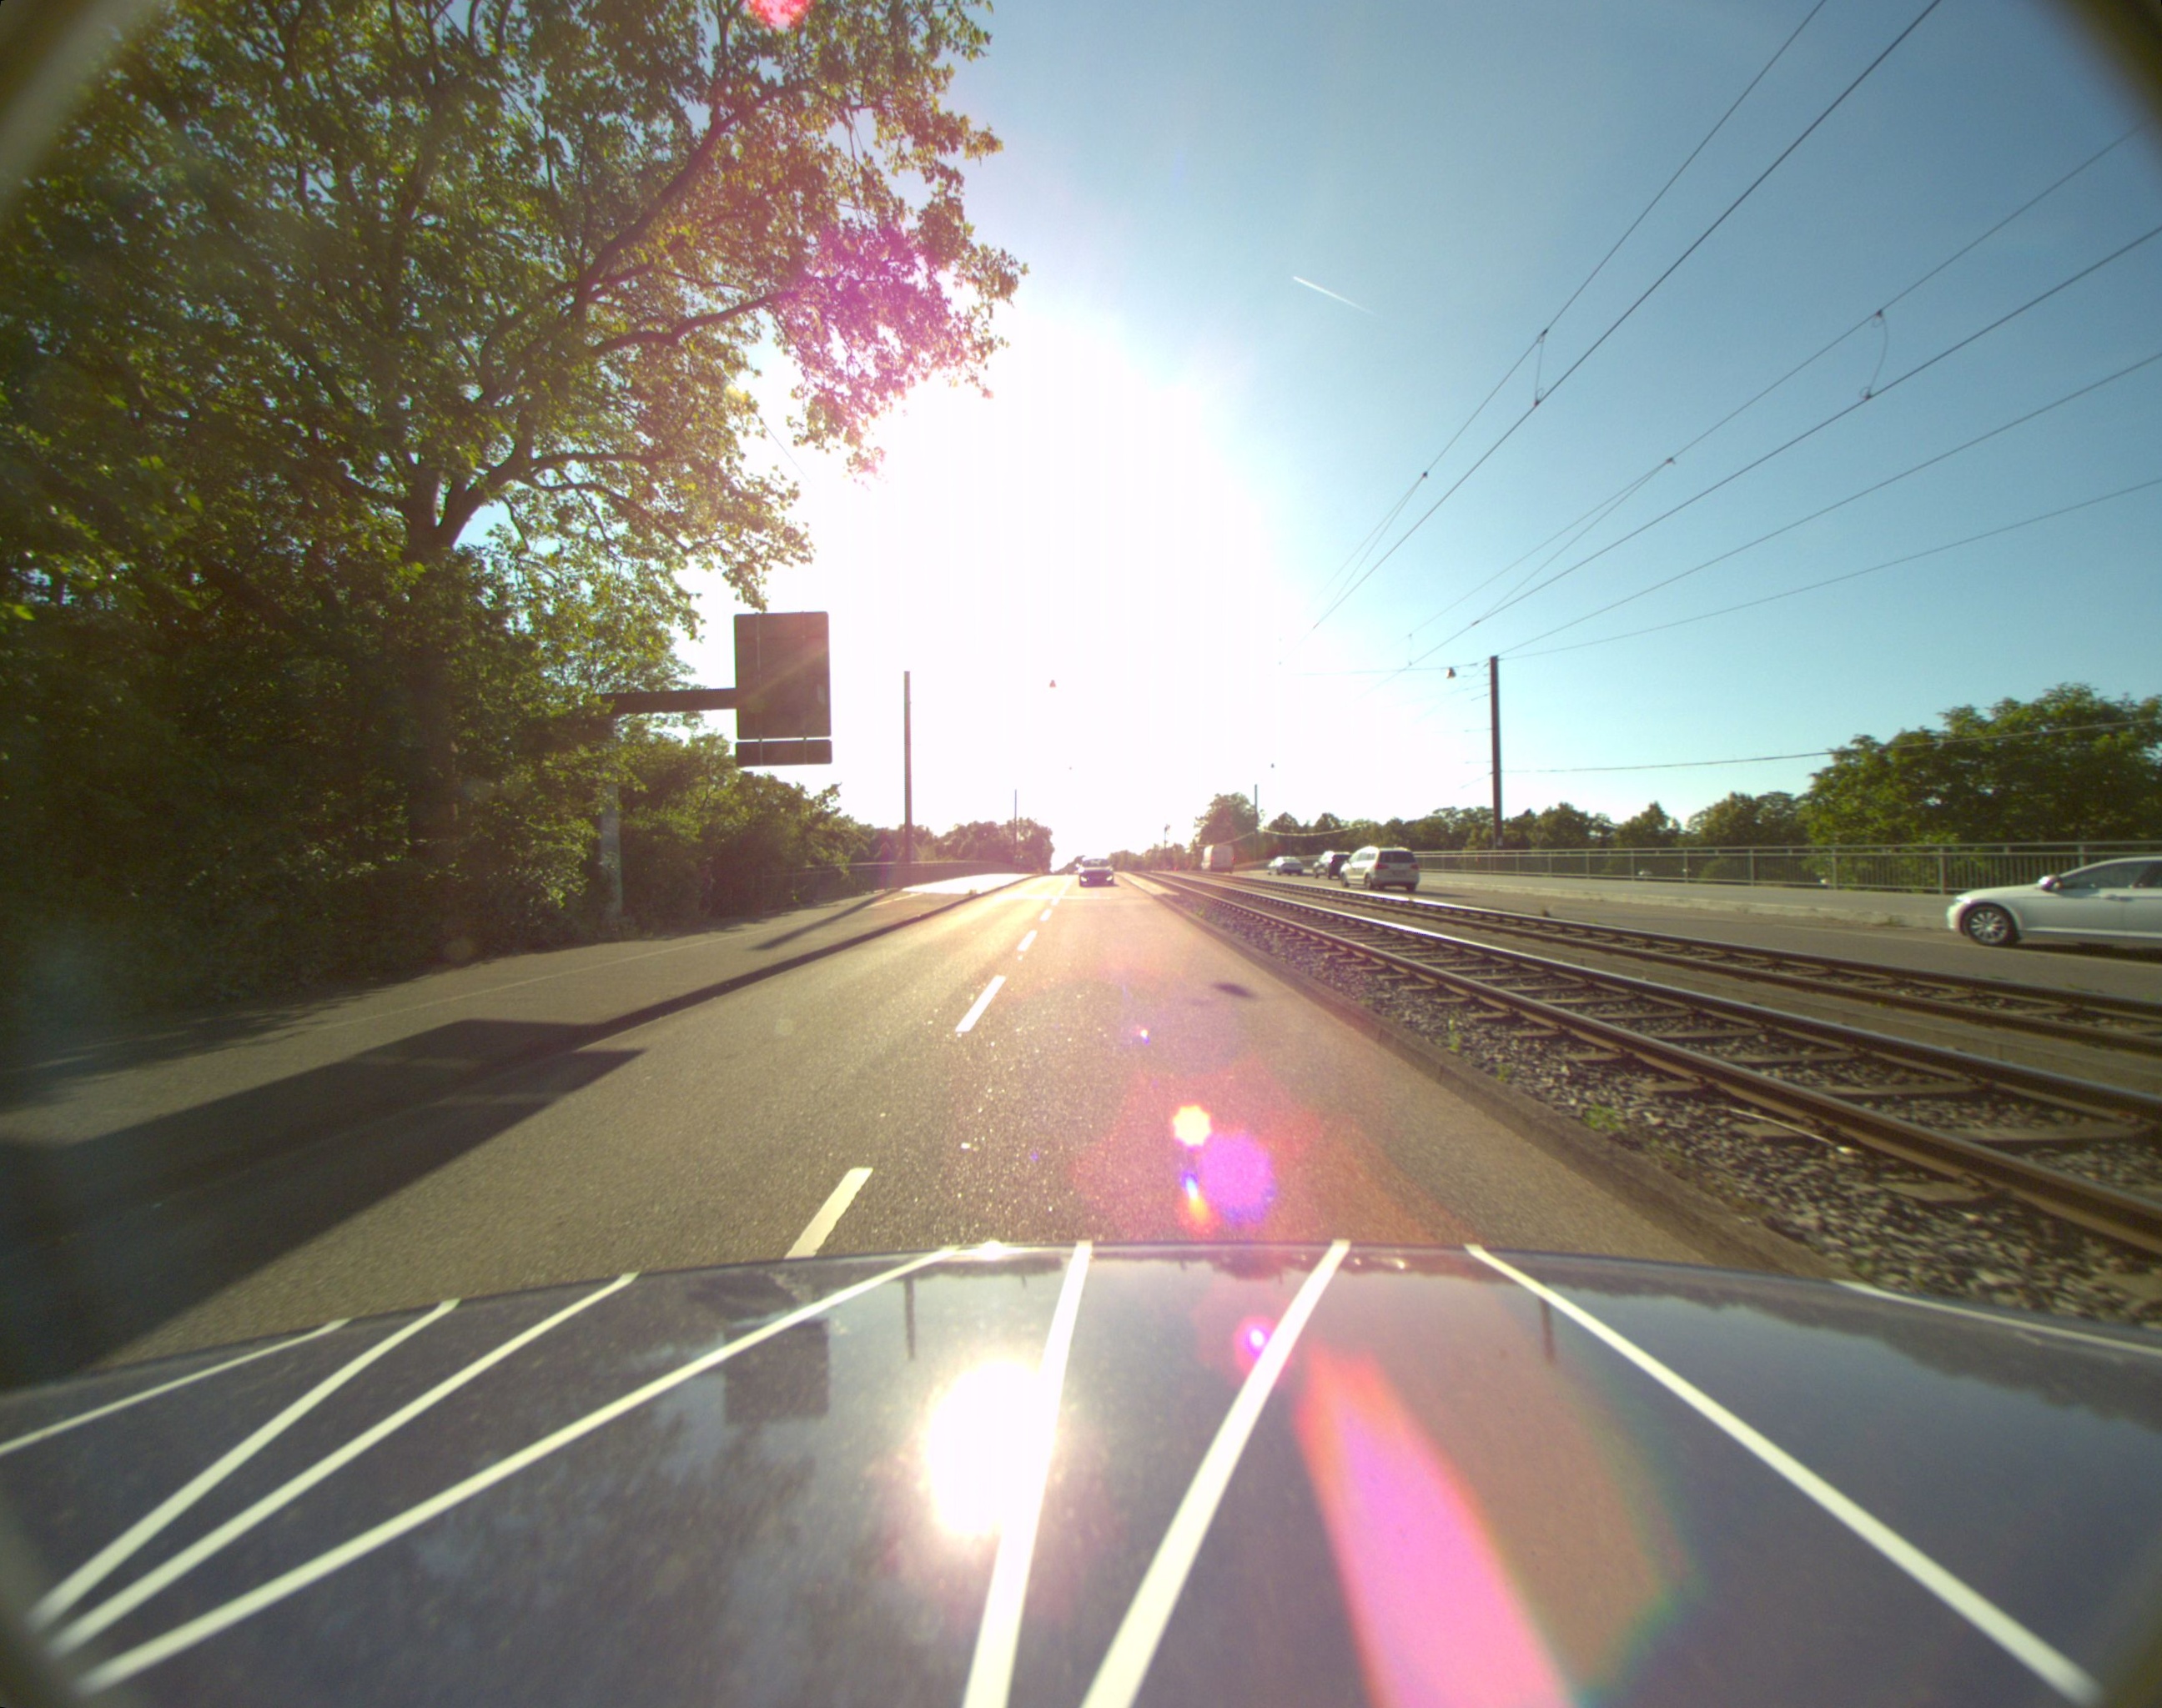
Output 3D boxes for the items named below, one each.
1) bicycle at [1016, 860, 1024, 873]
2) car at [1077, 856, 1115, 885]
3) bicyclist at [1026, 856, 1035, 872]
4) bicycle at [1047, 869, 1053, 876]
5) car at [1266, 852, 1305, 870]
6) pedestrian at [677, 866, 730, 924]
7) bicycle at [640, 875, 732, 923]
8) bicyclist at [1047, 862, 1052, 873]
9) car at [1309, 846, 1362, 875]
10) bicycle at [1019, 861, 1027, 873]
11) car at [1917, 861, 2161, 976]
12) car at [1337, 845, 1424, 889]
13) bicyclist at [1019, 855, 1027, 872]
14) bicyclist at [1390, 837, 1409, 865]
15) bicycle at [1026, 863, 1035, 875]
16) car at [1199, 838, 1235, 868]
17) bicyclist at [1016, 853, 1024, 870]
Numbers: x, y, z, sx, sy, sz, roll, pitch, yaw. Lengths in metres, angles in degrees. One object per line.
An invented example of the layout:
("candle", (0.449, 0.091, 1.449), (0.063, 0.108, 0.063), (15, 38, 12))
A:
("bicycle", (-5.515, 1.131, 68.706), (0.627, 1.115, 2.260), (-1, -2, -3))
("car", (0.704, 0.860, 38.442), (1.801, 1.345, 4.001), (0, -2, 0))
("bicyclist", (-5.141, 1.017, 77.738), (0.814, 1.552, 0.897), (-2, -2, 0))
("bicycle", (-4.884, 2.923, 119.274), (0.733, 1.115, 2.742), (-4, -2, -3))
("car", (15.579, 0.521, 58.228), (1.688, 1.348, 4.920), (1, 0, 1))
("pedestrian", (-9.333, 1.007, 18.802), (0.812, 1.387, 0.807), (-1, 1, 14))
("bicycle", (-9.633, 1.081, 18.531), (2.038, 1.116, 0.628), (-1, 1, 13))
("bicyclist", (-4.953, 2.093, 119.317), (0.733, 1.679, 1.202), (-4, -1, -3))
("car", (15.524, 0.413, 46.566), (1.784, 1.640, 4.447), (1, -1, 1))
("bicycle", (-5.573, 1.235, 73.217), (0.626, 1.115, 2.042), (-2, -1, 0))
("car", (14.972, 0.844, 10.328), (1.746, 1.455, 4.956), (-1, 0, 0))
("car", (12.235, 0.507, 31.380), (1.877, 1.655, 4.597), (1, 0, 2))
("bicyclist", (-5.619, 0.909, 73.206), (0.626, 1.583, 0.931), (-2, -1, 0))
("bicyclist", (18.564, -0.173, 44.264), (0.681, 1.617, 0.890), (-3, 0, 1))
("bicycle", (-5.136, 1.562, 77.699), (0.685, 1.115, 2.217), (-2, -3, 0))
("car", (12.202, -0.065, 68.527), (2.092, 2.577, 6.040), (0, 0, -1))
("bicyclist", (-5.518, 0.724, 68.678), (0.627, 1.499, 1.006), (-1, -2, -3))
